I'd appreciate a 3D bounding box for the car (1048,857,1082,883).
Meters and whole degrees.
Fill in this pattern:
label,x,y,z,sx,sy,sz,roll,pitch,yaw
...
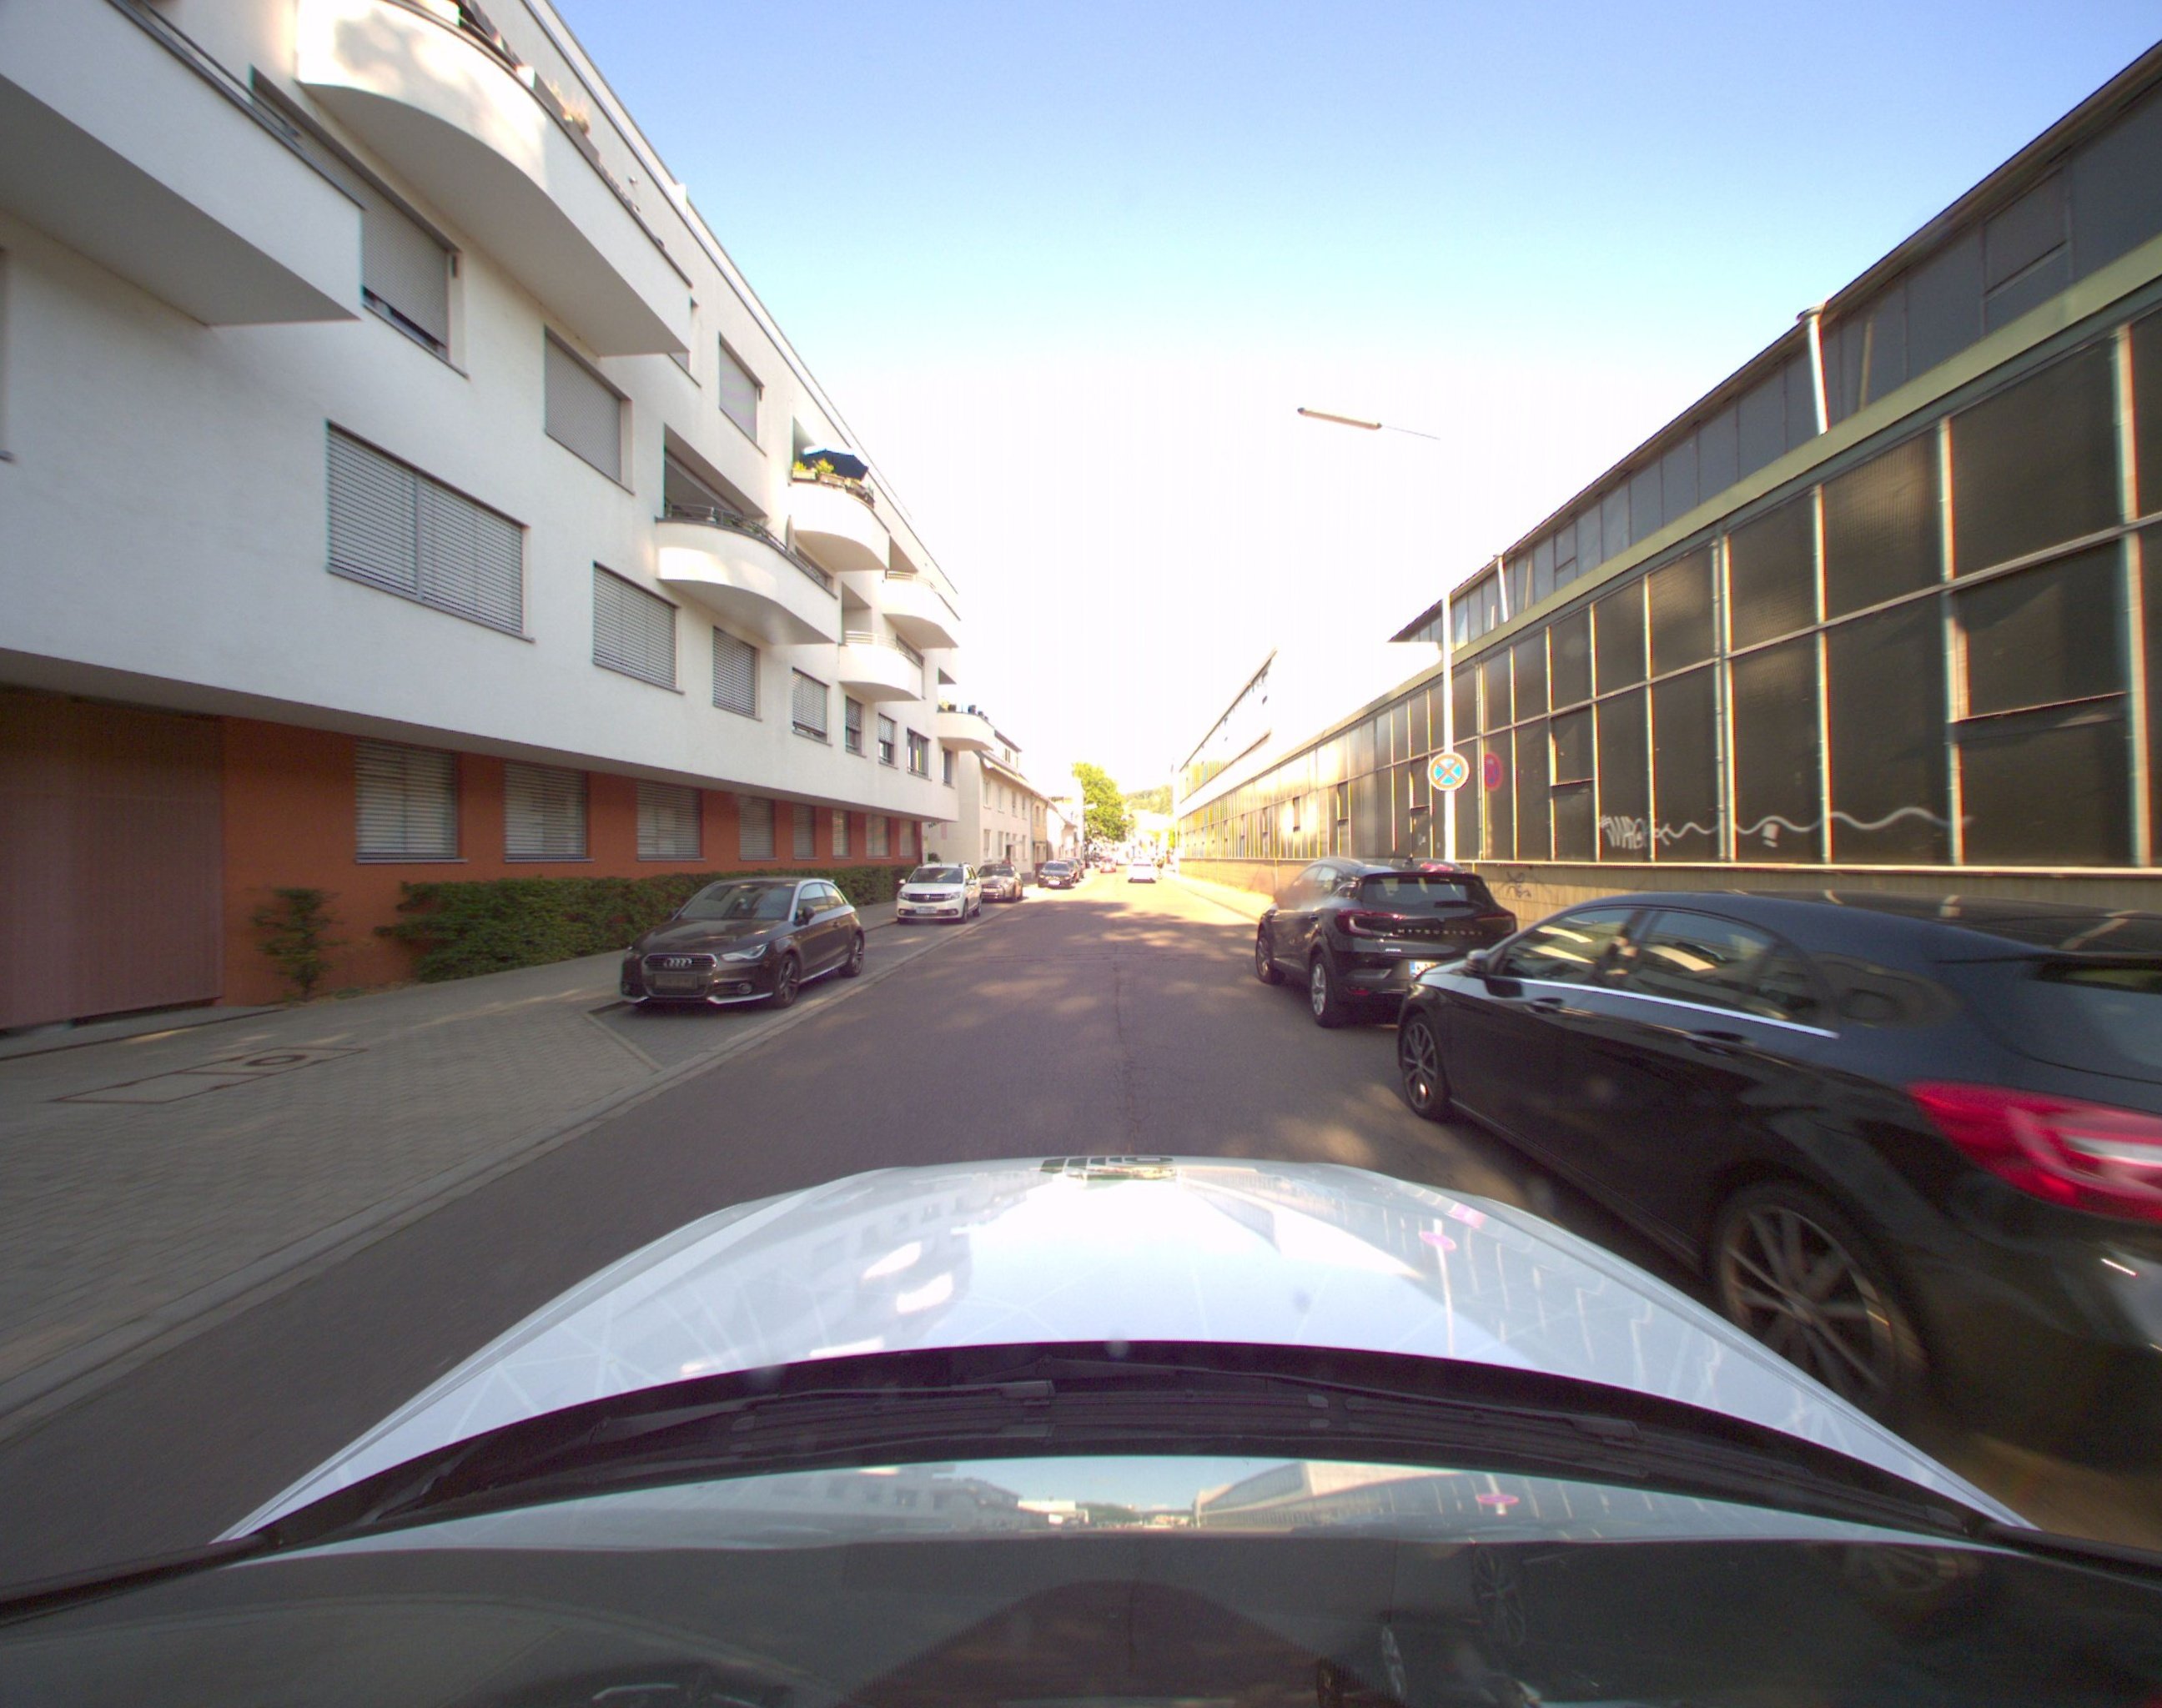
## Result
label,x,y,z,sx,sy,sz,roll,pitch,yaw
car,-1.009,1.019,54.693,1.849,1.587,4.340,2,0,4

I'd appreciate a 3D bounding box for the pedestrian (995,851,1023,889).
label,x,y,z,sx,sy,sz,roll,pitch,yaw
pedestrian,-3.603,0.812,40.972,0.853,1.818,1.138,3,0,26

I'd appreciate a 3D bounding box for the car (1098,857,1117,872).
label,x,y,z,sx,sy,sz,roll,pitch,yaw
car,2.761,1.066,82.999,1.835,1.491,4.147,1,-1,3

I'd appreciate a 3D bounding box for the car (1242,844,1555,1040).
label,x,y,z,sx,sy,sz,roll,pitch,yaw
car,3.098,0.768,9.027,1.801,1.587,4.405,2,-1,1

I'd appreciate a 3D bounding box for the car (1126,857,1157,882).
label,x,y,z,sx,sy,sz,roll,pitch,yaw
car,3.818,0.967,52.106,1.835,1.491,4.146,1,-1,2

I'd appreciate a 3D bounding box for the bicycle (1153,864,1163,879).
label,x,y,z,sx,sy,sz,roll,pitch,yaw
bicycle,5.695,1.278,60.157,0.695,1.130,2.405,1,-1,4

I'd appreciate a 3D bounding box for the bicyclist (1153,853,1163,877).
label,x,y,z,sx,sy,sz,roll,pitch,yaw
bicyclist,5.688,0.797,60.030,0.695,1.790,1.042,1,-1,4

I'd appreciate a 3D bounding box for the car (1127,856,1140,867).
label,x,y,z,sx,sy,sz,roll,pitch,yaw
car,8.254,1.143,127.318,1.846,1.791,4.608,0,0,1

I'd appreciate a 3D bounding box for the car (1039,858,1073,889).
label,x,y,z,sx,sy,sz,roll,pitch,yaw
car,-1.302,1.038,44.277,1.679,1.535,4.333,2,-1,-1

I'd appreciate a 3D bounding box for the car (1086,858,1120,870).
label,x,y,z,sx,sy,sz,roll,pitch,yaw
car,2.874,1.299,104.337,4.105,1.491,1.853,0,-1,9

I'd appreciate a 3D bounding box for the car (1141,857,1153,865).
label,x,y,z,sx,sy,sz,roll,pitch,yaw
car,11.953,1.261,148.048,1.831,1.491,4.154,0,-1,9

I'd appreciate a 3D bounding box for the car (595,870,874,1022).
label,x,y,z,sx,sy,sz,roll,pitch,yaw
car,-3.944,0.957,10.033,1.668,1.433,3.772,2,-1,2

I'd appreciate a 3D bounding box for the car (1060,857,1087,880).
label,x,y,z,sx,sy,sz,roll,pitch,yaw
car,-0.569,1.077,63.299,1.801,1.587,4.196,2,1,3

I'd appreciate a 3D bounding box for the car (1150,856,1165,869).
label,x,y,z,sx,sy,sz,roll,pitch,yaw
car,9.438,1.064,100.677,1.623,1.587,4.072,-3,-1,3

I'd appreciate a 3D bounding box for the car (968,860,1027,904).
label,x,y,z,sx,sy,sz,roll,pitch,yaw
car,-3.133,1.030,31.289,1.661,1.536,3.859,2,-1,2

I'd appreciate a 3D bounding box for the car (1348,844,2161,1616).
label,x,y,z,sx,sy,sz,roll,pitch,yaw
car,2.819,0.783,3.884,1.743,1.491,4.624,2,-1,3

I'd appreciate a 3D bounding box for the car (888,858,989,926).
label,x,y,z,sx,sy,sz,roll,pitch,yaw
car,-3.690,0.936,21.945,1.852,1.587,4.620,2,-1,0

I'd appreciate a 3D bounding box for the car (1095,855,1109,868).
label,x,y,z,sx,sy,sz,roll,pitch,yaw
car,3.059,1.093,117.872,1.844,1.791,4.613,0,0,5
